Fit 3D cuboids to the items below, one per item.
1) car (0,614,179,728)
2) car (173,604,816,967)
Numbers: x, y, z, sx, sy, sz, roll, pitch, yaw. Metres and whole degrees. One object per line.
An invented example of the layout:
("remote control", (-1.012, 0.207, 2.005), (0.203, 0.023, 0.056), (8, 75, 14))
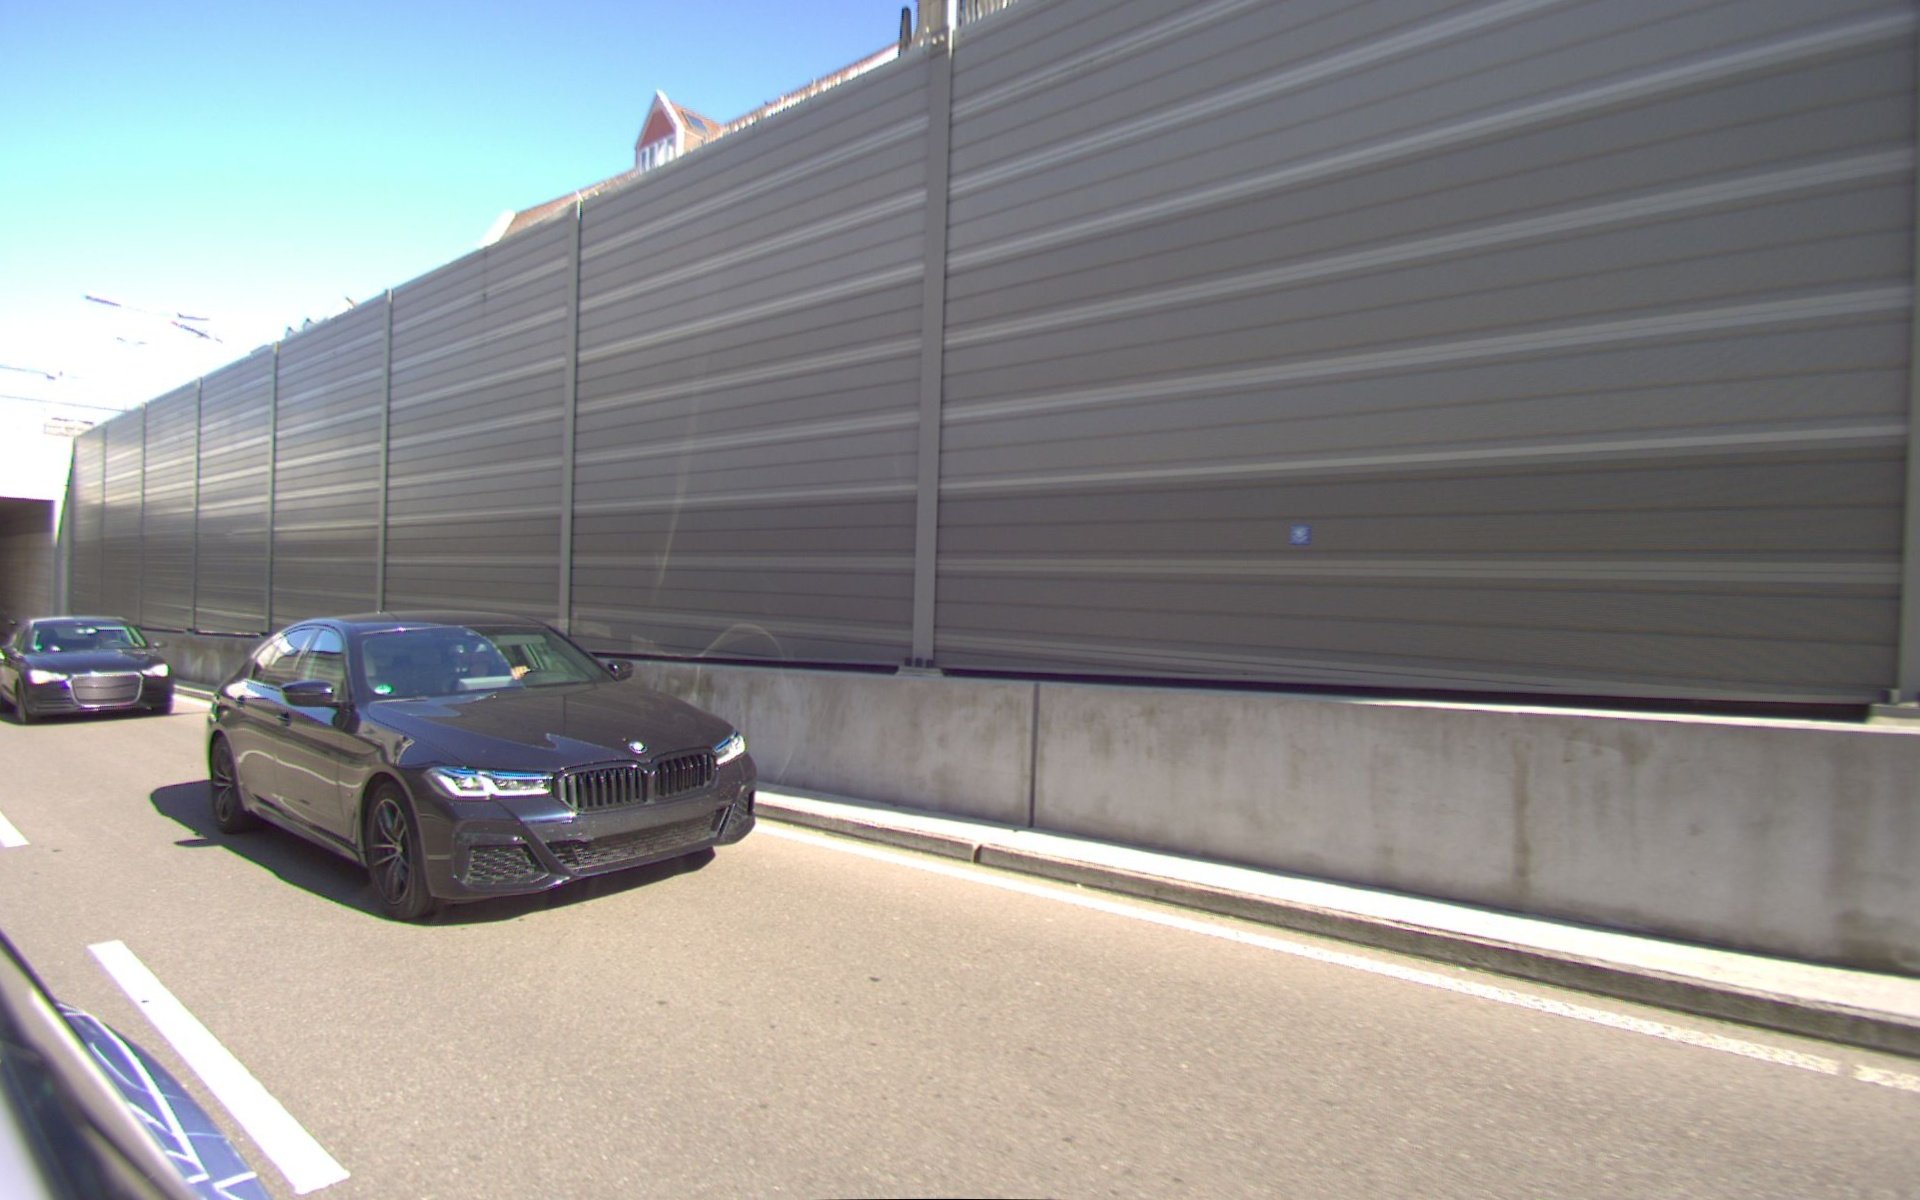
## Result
("car", (-12.968, 0.961, 14.827), (3.886, 1.429, 1.678), (-2, -1, 41))
("car", (-3.255, 0.802, 6.415), (4.999, 1.450, 1.790), (-2, -1, 41))
